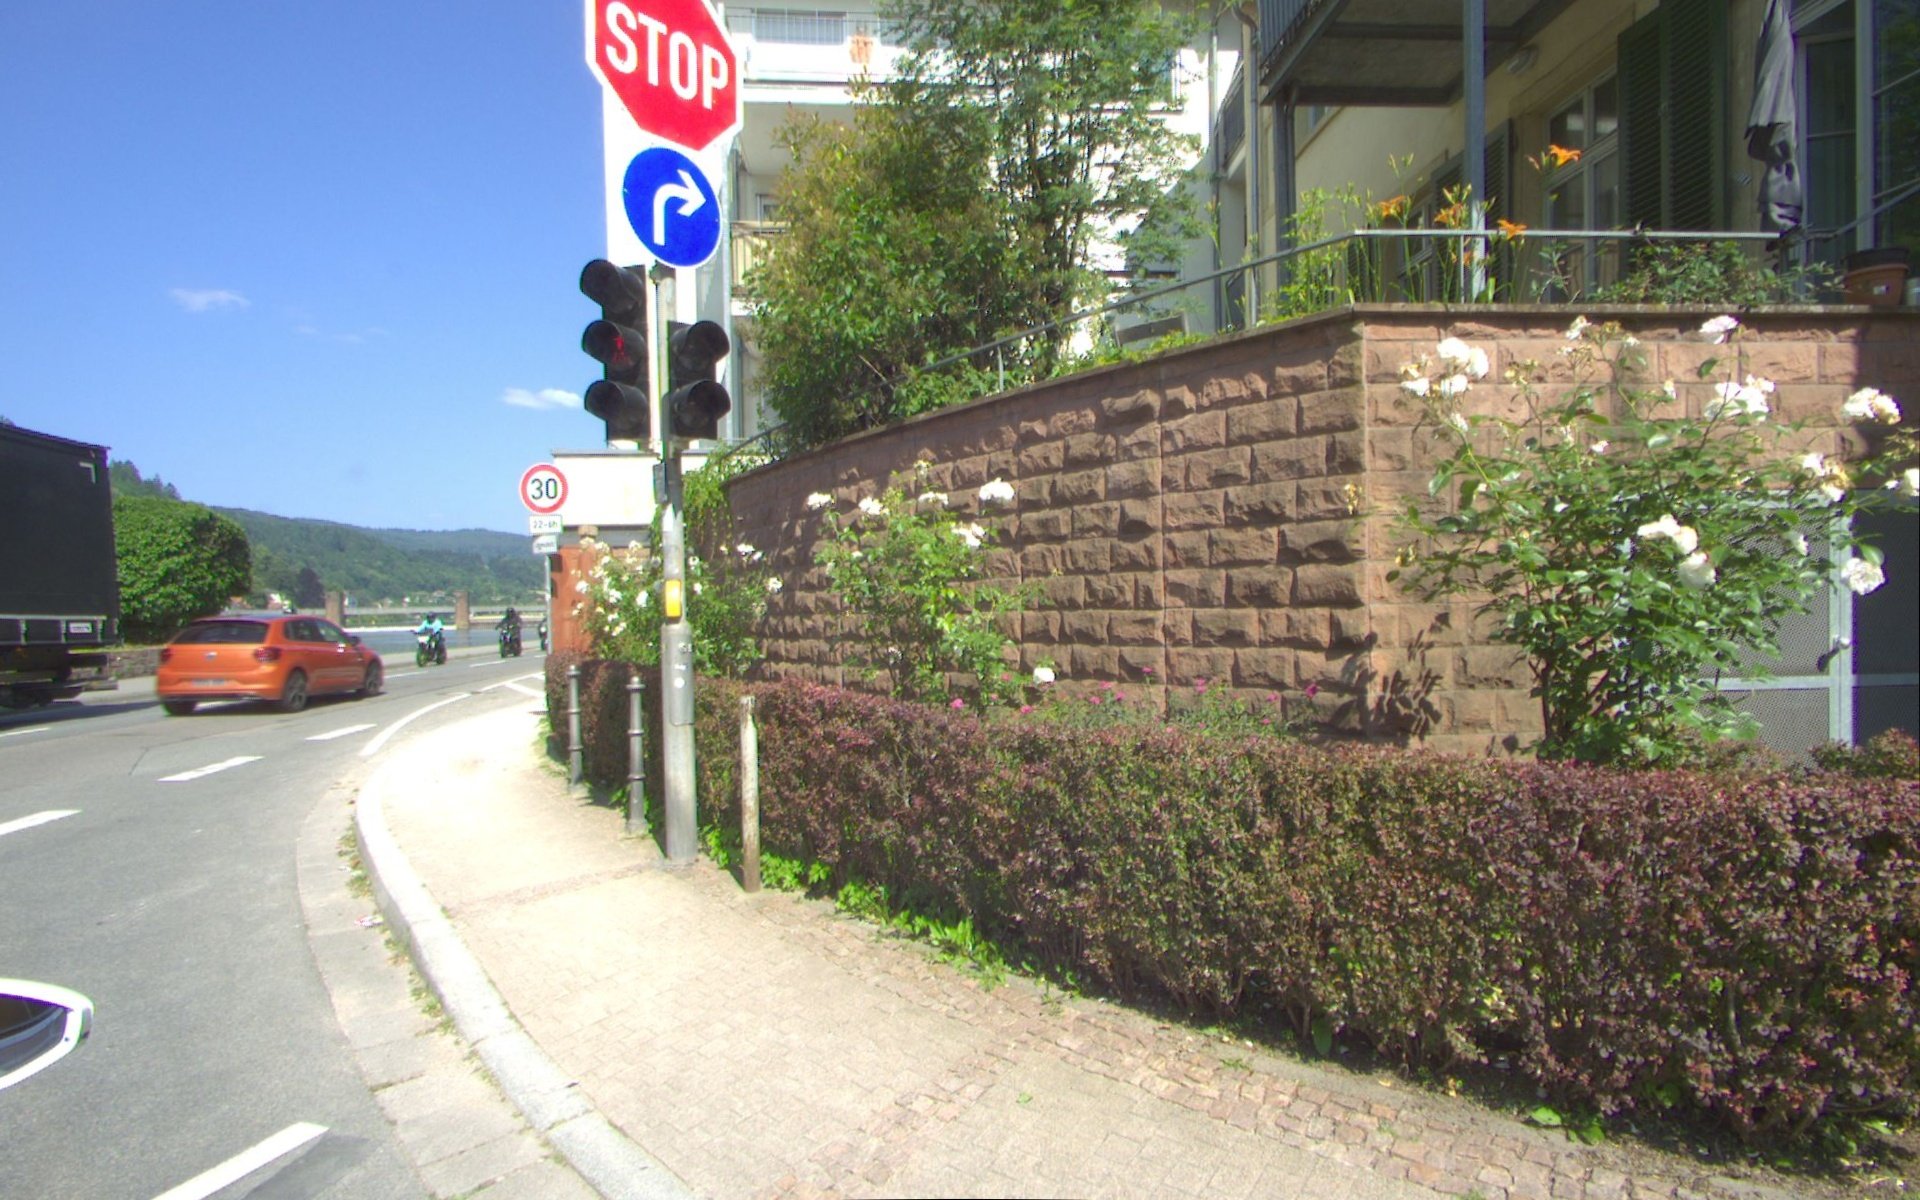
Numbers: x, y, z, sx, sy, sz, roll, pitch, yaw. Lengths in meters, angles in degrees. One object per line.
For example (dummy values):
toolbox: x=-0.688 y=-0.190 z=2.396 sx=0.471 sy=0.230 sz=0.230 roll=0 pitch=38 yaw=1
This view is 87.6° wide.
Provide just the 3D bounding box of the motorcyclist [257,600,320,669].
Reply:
motorcyclist: x=-15.179 y=0.763 z=22.652 sx=0.766 sy=1.479 sz=0.991 roll=-3 pitch=0 yaw=-8

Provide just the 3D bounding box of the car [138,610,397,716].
car: x=-10.712 y=0.891 z=15.891 sx=1.697 sy=1.424 sz=4.016 roll=-1 pitch=0 yaw=-7

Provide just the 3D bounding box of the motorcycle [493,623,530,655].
motorcycle: x=-15.445 y=1.318 z=34.534 sx=0.646 sy=1.038 sz=1.814 roll=-1 pitch=0 yaw=-8

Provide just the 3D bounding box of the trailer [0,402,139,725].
trailer: x=-13.155 y=-0.446 z=8.215 sx=2.788 sy=4.158 sz=13.766 roll=-3 pitch=0 yaw=-7

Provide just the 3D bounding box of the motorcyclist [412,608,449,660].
motorcyclist: x=-16.394 y=1.036 z=31.028 sx=0.653 sy=1.545 sz=0.991 roll=-3 pitch=0 yaw=-8

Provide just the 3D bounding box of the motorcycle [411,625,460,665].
motorcycle: x=-16.425 y=1.394 z=31.403 sx=0.623 sy=1.138 sz=2.092 roll=-3 pitch=0 yaw=-8

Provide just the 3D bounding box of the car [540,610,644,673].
car: x=-8.903 y=0.955 z=24.511 sx=1.661 sy=1.417 sz=3.737 roll=0 pitch=0 yaw=-9

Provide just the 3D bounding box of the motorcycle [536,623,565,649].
motorcycle: x=-16.958 y=1.476 z=41.518 sx=0.646 sy=1.038 sz=1.814 roll=-1 pitch=0 yaw=-8

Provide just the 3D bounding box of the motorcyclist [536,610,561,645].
motorcyclist: x=-16.974 y=1.123 z=41.315 sx=0.706 sy=1.384 sz=0.936 roll=-1 pitch=0 yaw=-8

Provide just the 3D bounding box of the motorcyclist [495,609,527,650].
motorcyclist: x=-15.437 y=1.004 z=34.471 sx=0.774 sy=1.384 sz=0.800 roll=-1 pitch=0 yaw=-8
